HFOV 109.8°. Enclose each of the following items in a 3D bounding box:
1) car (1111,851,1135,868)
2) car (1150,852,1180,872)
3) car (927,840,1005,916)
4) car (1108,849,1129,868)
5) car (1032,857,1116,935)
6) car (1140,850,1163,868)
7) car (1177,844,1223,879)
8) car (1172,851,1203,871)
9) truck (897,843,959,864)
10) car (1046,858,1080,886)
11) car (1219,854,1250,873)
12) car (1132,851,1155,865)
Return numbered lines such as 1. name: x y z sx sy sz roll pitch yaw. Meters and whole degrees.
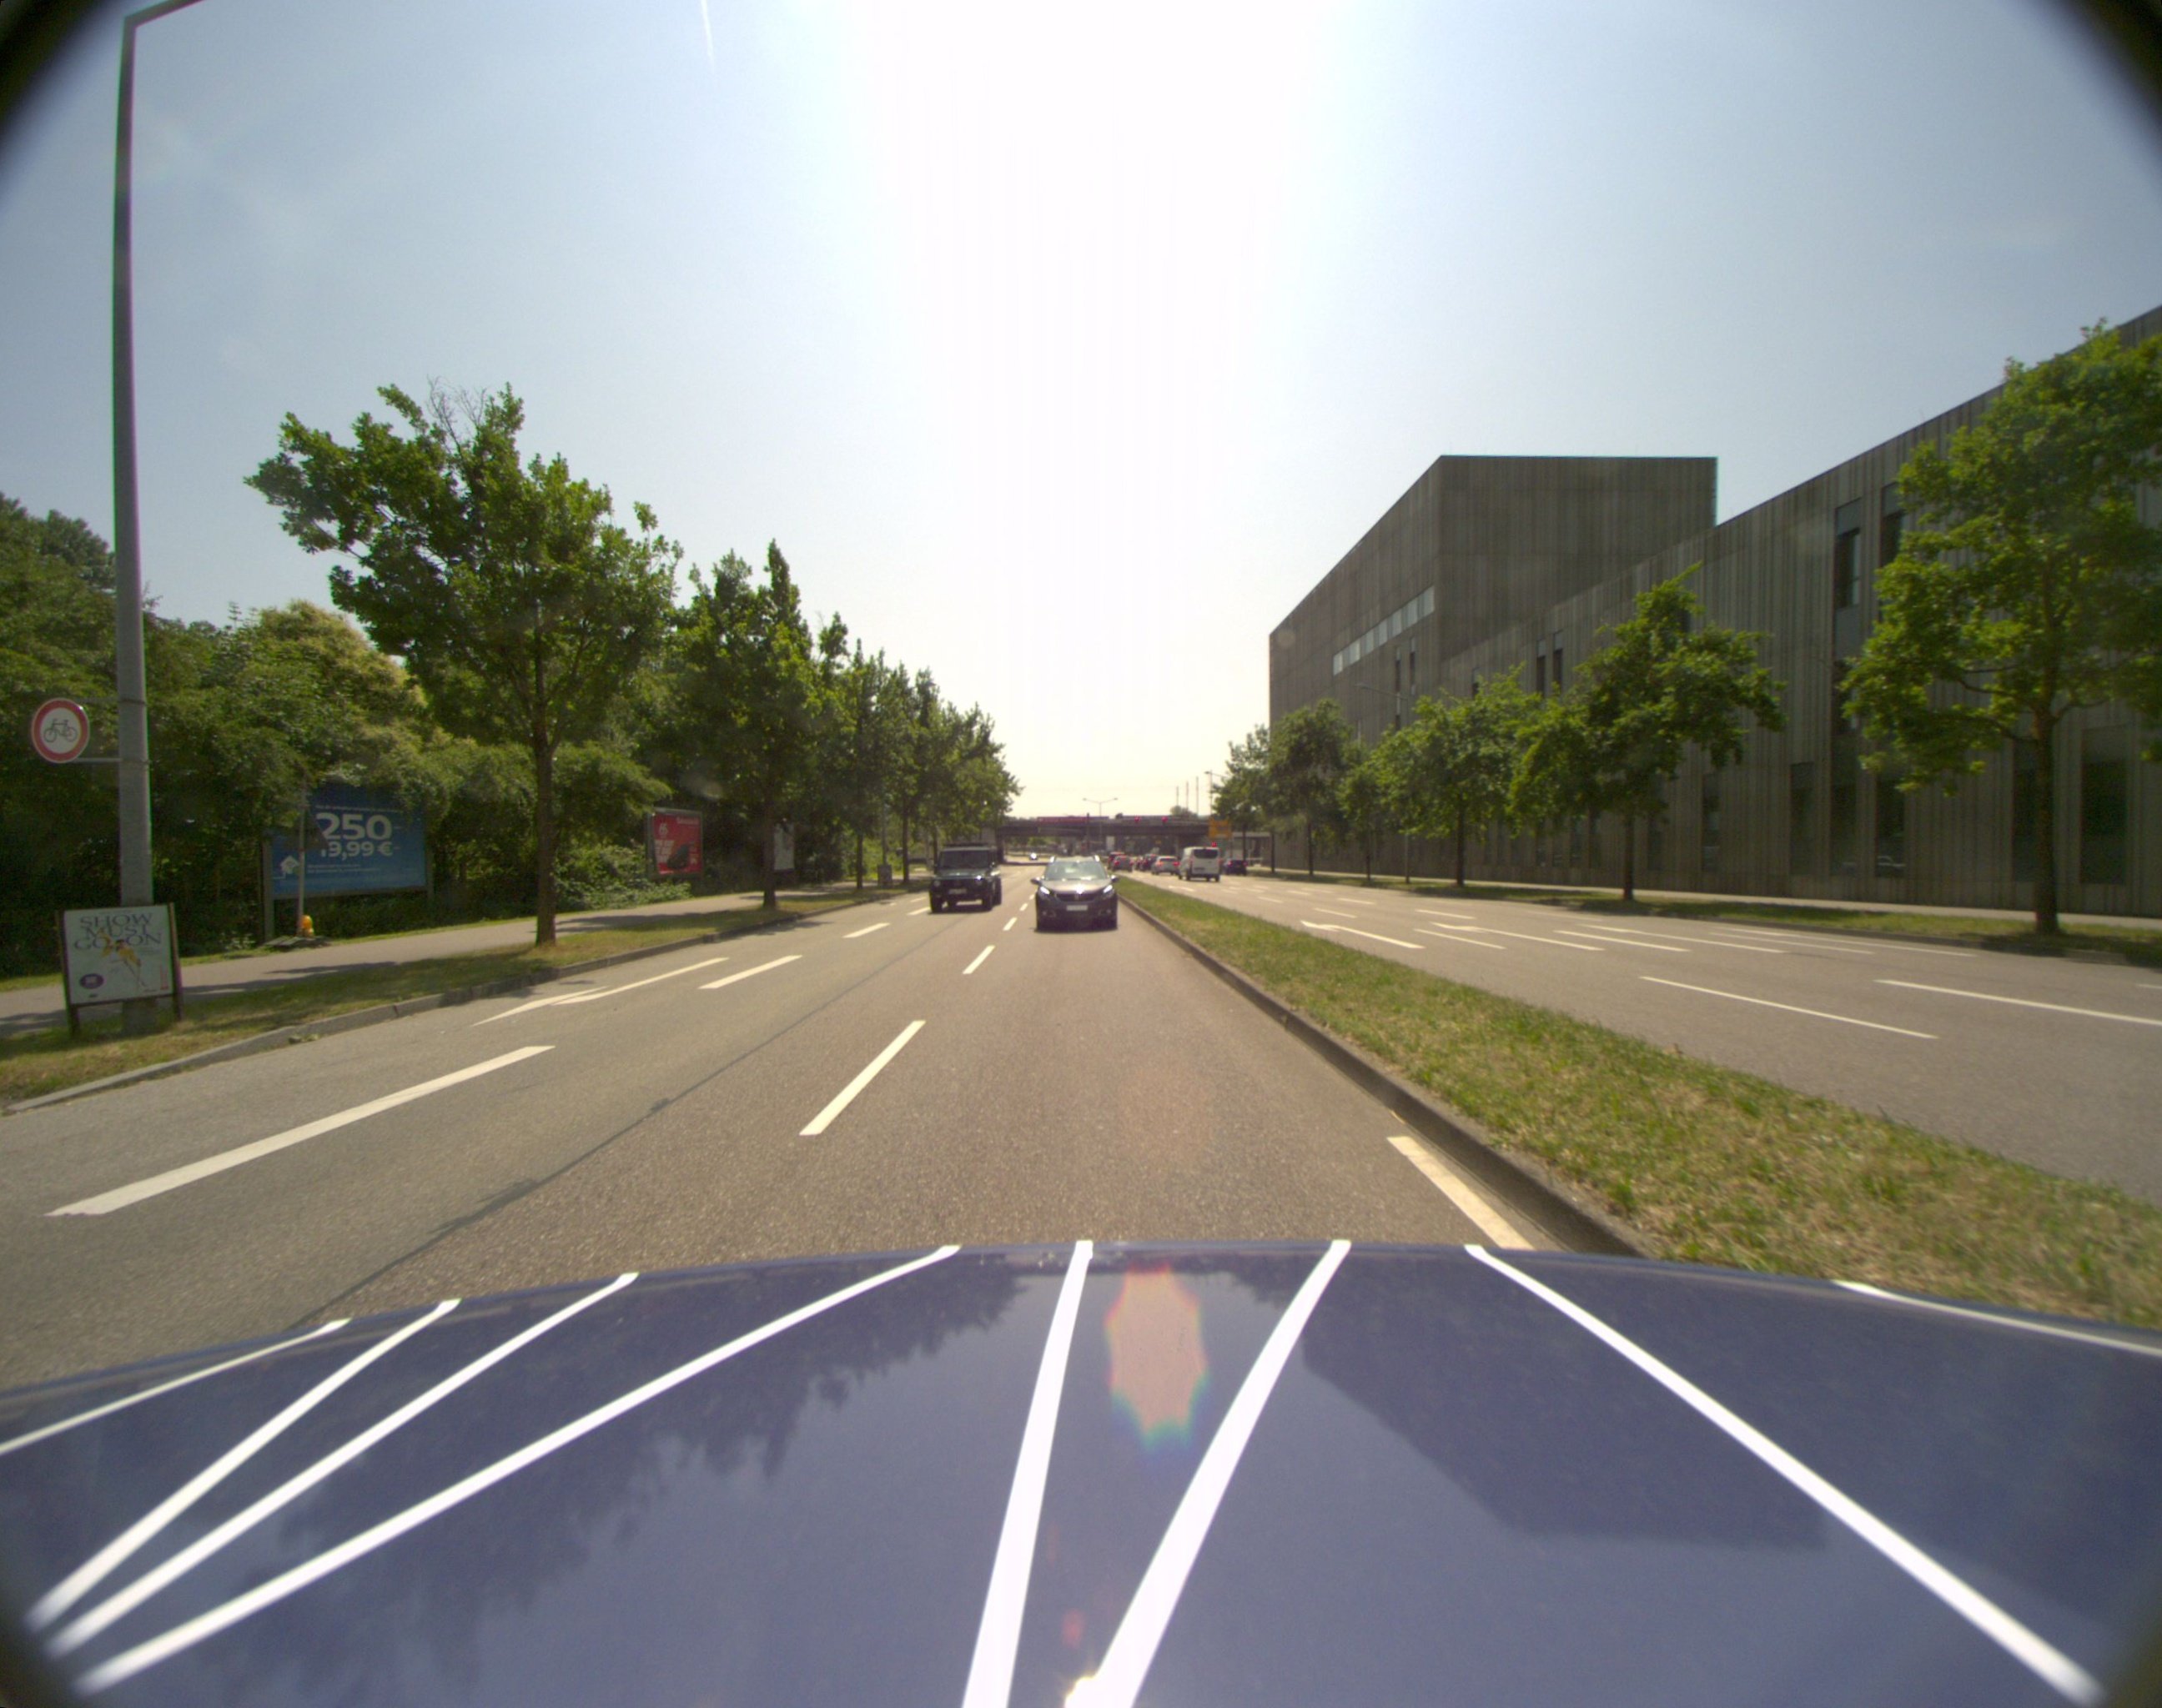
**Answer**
1. car: 3.765 0.490 69.020 1.815 1.458 4.056 1 0 -1
2. car: 6.583 0.599 59.969 1.770 1.452 4.144 1 0 -1
3. car: -3.477 0.651 23.754 1.842 2.141 4.556 -1 1 -2
4. car: 3.809 0.451 78.168 1.815 1.790 4.713 1 0 -1
5. car: -0.084 0.854 17.423 1.619 1.503 4.458 -2 0 1
6. car: 6.547 0.456 71.038 1.807 1.653 4.573 1 0 1
7. car: 7.162 0.430 46.199 1.914 1.981 4.896 1 0 -2
8. car: 9.582 0.628 68.645 1.815 1.736 4.644 1 0 -3
9. truck: -21.986 -0.038 109.615 8.515 2.899 2.885 -1 1 -6
10. car: -0.985 0.970 42.948 1.817 1.456 3.999 0 0 -1
11. car: 12.786 0.763 63.523 1.625 1.447 4.016 1 0 -1
12. car: 6.362 0.382 77.871 1.815 1.437 4.249 1 0 -3
